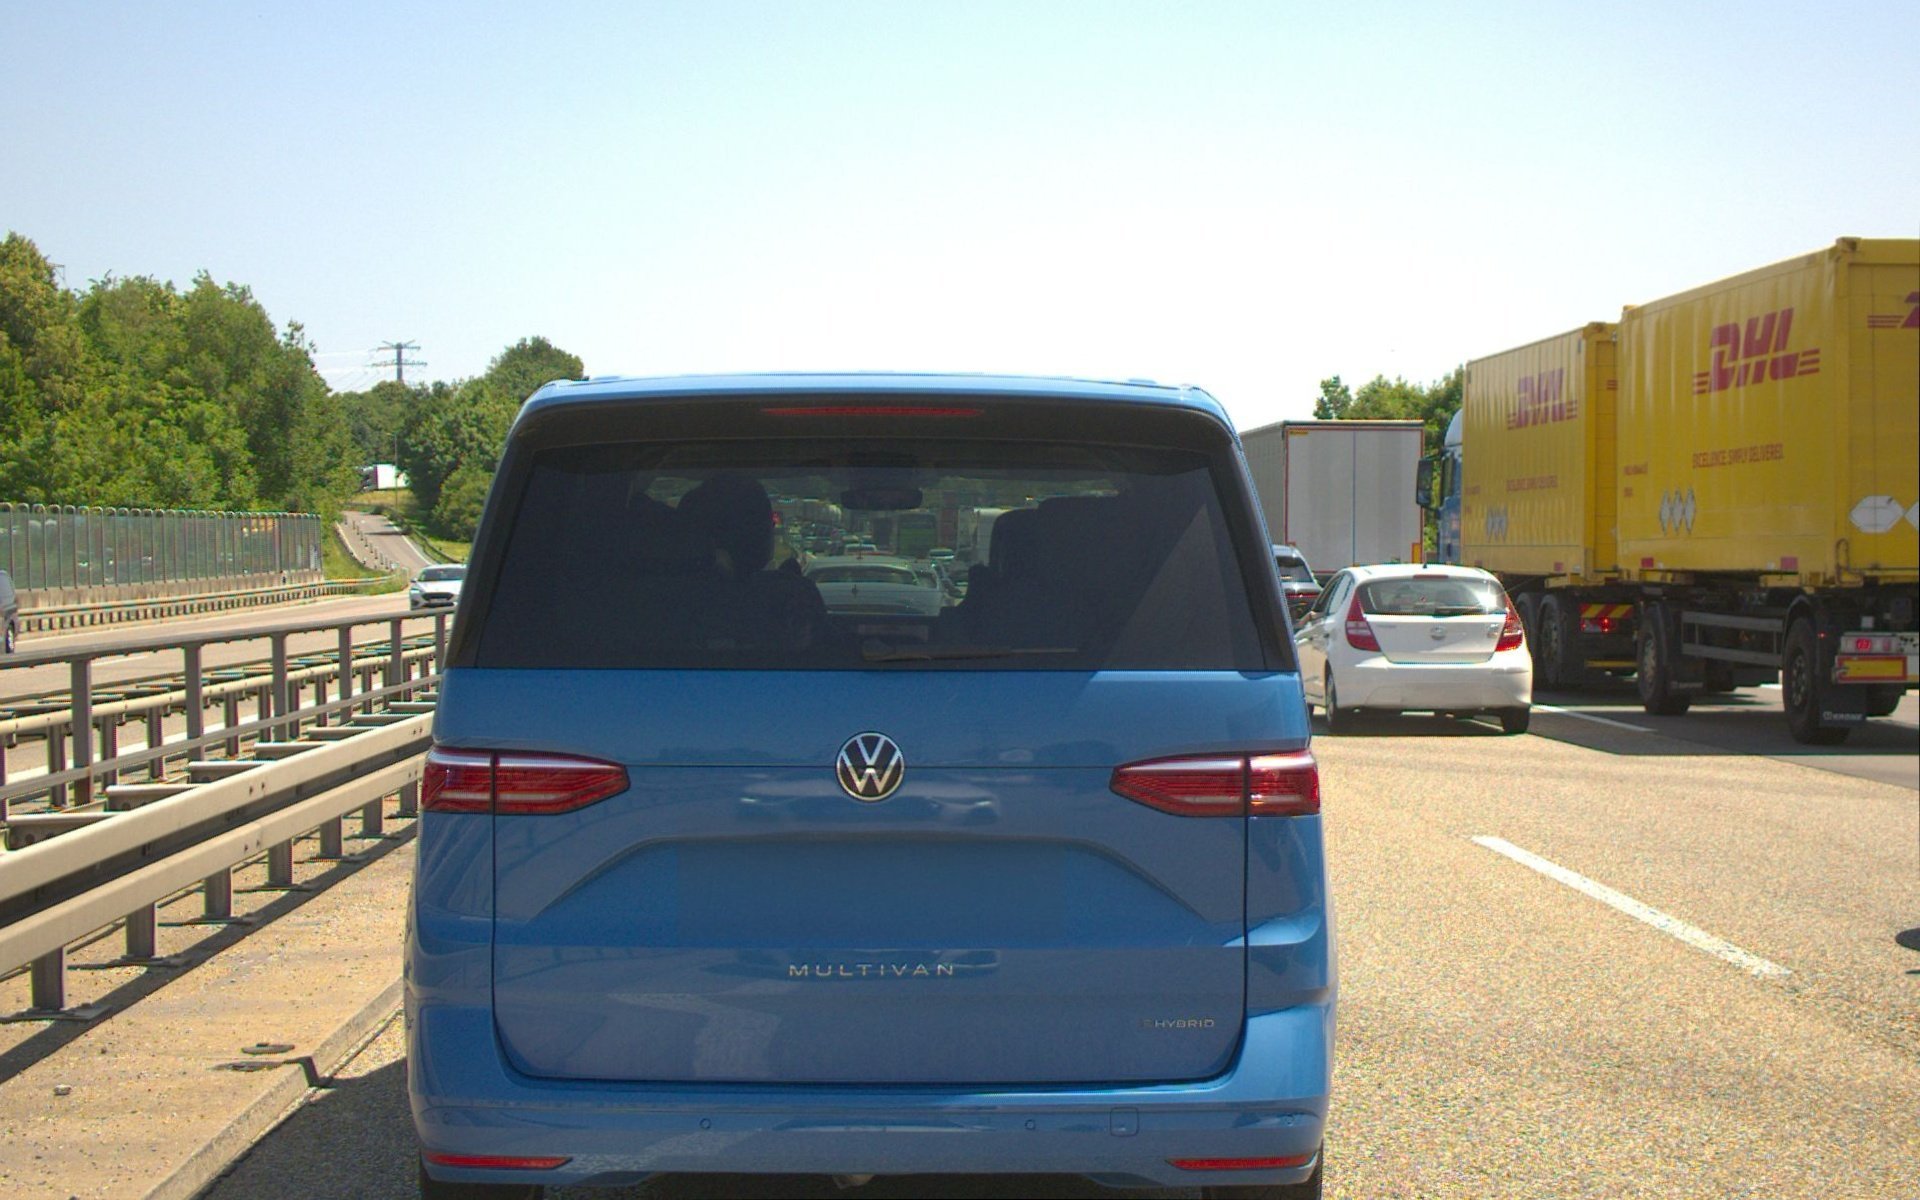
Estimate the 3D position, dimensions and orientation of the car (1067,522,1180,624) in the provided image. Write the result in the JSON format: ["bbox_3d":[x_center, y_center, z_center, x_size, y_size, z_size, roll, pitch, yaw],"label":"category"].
[{"bbox_3d":[3.222,-0.534,68.443,1.962,1.929,3.932,1,0,-1],"label":"car"}]

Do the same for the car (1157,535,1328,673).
[{"bbox_3d":[3.604,0.035,44.381,1.815,1.673,3.932,1,0,-1],"label":"car"}]

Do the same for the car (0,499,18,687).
[{"bbox_3d":[-14.056,-0.047,44.606,1.993,2.573,6.651,-2,0,-2],"label":"car"}]

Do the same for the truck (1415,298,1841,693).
[{"bbox_3d":[7.620,-1.110,40.782,2.699,4.074,9.941,1,0,-2],"label":"truck"}]

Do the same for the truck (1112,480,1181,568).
[{"bbox_3d":[5.607,-2.261,103.538,1.742,2.540,4.210,1,0,-1],"label":"truck"}]

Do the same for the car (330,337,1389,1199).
[{"bbox_3d":[-0.229,0.455,8.349,1.930,1.867,4.000,1,0,-1],"label":"car"}]

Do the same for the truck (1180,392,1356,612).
[{"bbox_3d":[6.761,-2.091,76.538,3.026,4.595,7.921,1,0,-1],"label":"truck"}]

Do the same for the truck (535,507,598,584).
[{"bbox_3d":[-21.922,-3.017,191.860,2.672,4.171,6.287,-1,0,1],"label":"truck"}]

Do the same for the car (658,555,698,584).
[{"bbox_3d":[-15.113,-1.627,184.332,1.762,1.503,4.223,-1,1,0],"label":"car"}]

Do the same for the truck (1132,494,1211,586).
[{"bbox_3d":[5.790,-1.620,94.685,1.798,2.441,4.504,1,0,-1],"label":"truck"}]

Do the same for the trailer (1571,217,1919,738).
[{"bbox_3d":[7.946,-0.966,31.477,2.682,4.074,8.981,1,0,-3],"label":"trailer"}]

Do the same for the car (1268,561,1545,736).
[{"bbox_3d":[3.988,0.401,31.306,1.815,1.465,3.932,1,0,-3],"label":"car"}]

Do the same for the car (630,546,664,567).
[{"bbox_3d":[-21.035,-2.948,230.976,1.689,1.299,4.012,-3,0,2],"label":"car"}]

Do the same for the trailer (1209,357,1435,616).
[{"bbox_3d":[6.889,-2.063,67.112,3.026,4.595,10.925,1,0,-1],"label":"trailer"}]

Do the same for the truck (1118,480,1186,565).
[{"bbox_3d":[6.043,-2.419,108.579,1.797,2.587,4.306,1,0,-1],"label":"truck"}]

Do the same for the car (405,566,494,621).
[{"bbox_3d":[-15.240,-0.206,102.828,1.993,1.539,4.386,-2,0,-1],"label":"car"}]
